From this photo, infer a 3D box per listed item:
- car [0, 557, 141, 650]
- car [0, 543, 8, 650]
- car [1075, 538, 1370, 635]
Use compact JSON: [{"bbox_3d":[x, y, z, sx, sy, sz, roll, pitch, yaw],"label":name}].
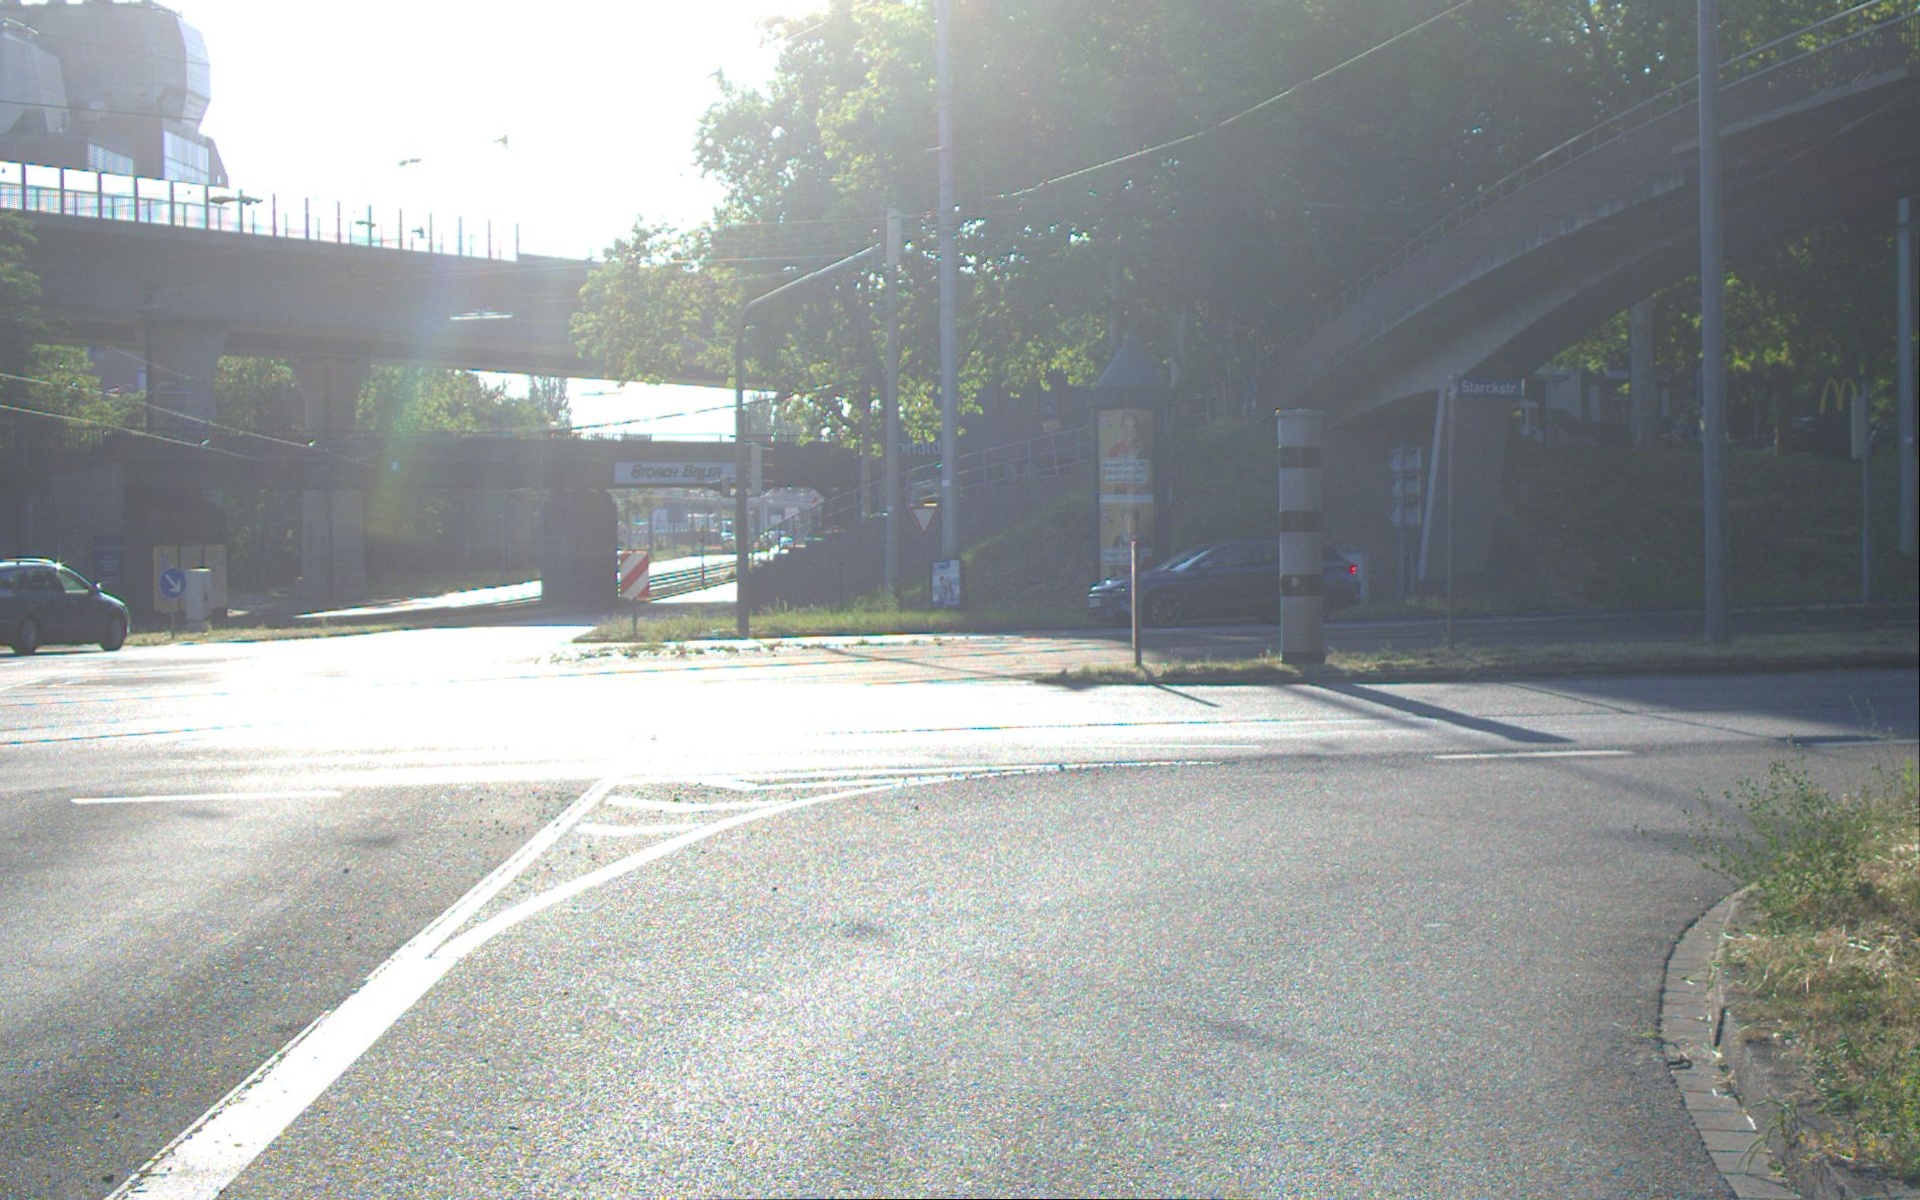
[{"bbox_3d":[-14.739,0.026,54.097,1.666,1.400,4.442,1,1,15],"label":"car"},{"bbox_3d":[-14.102,-0.032,43.405,1.667,1.400,4.191,1,1,25],"label":"car"},{"bbox_3d":[4.350,-0.228,57.078,4.574,1.569,1.694,0,1,-17],"label":"car"}]
